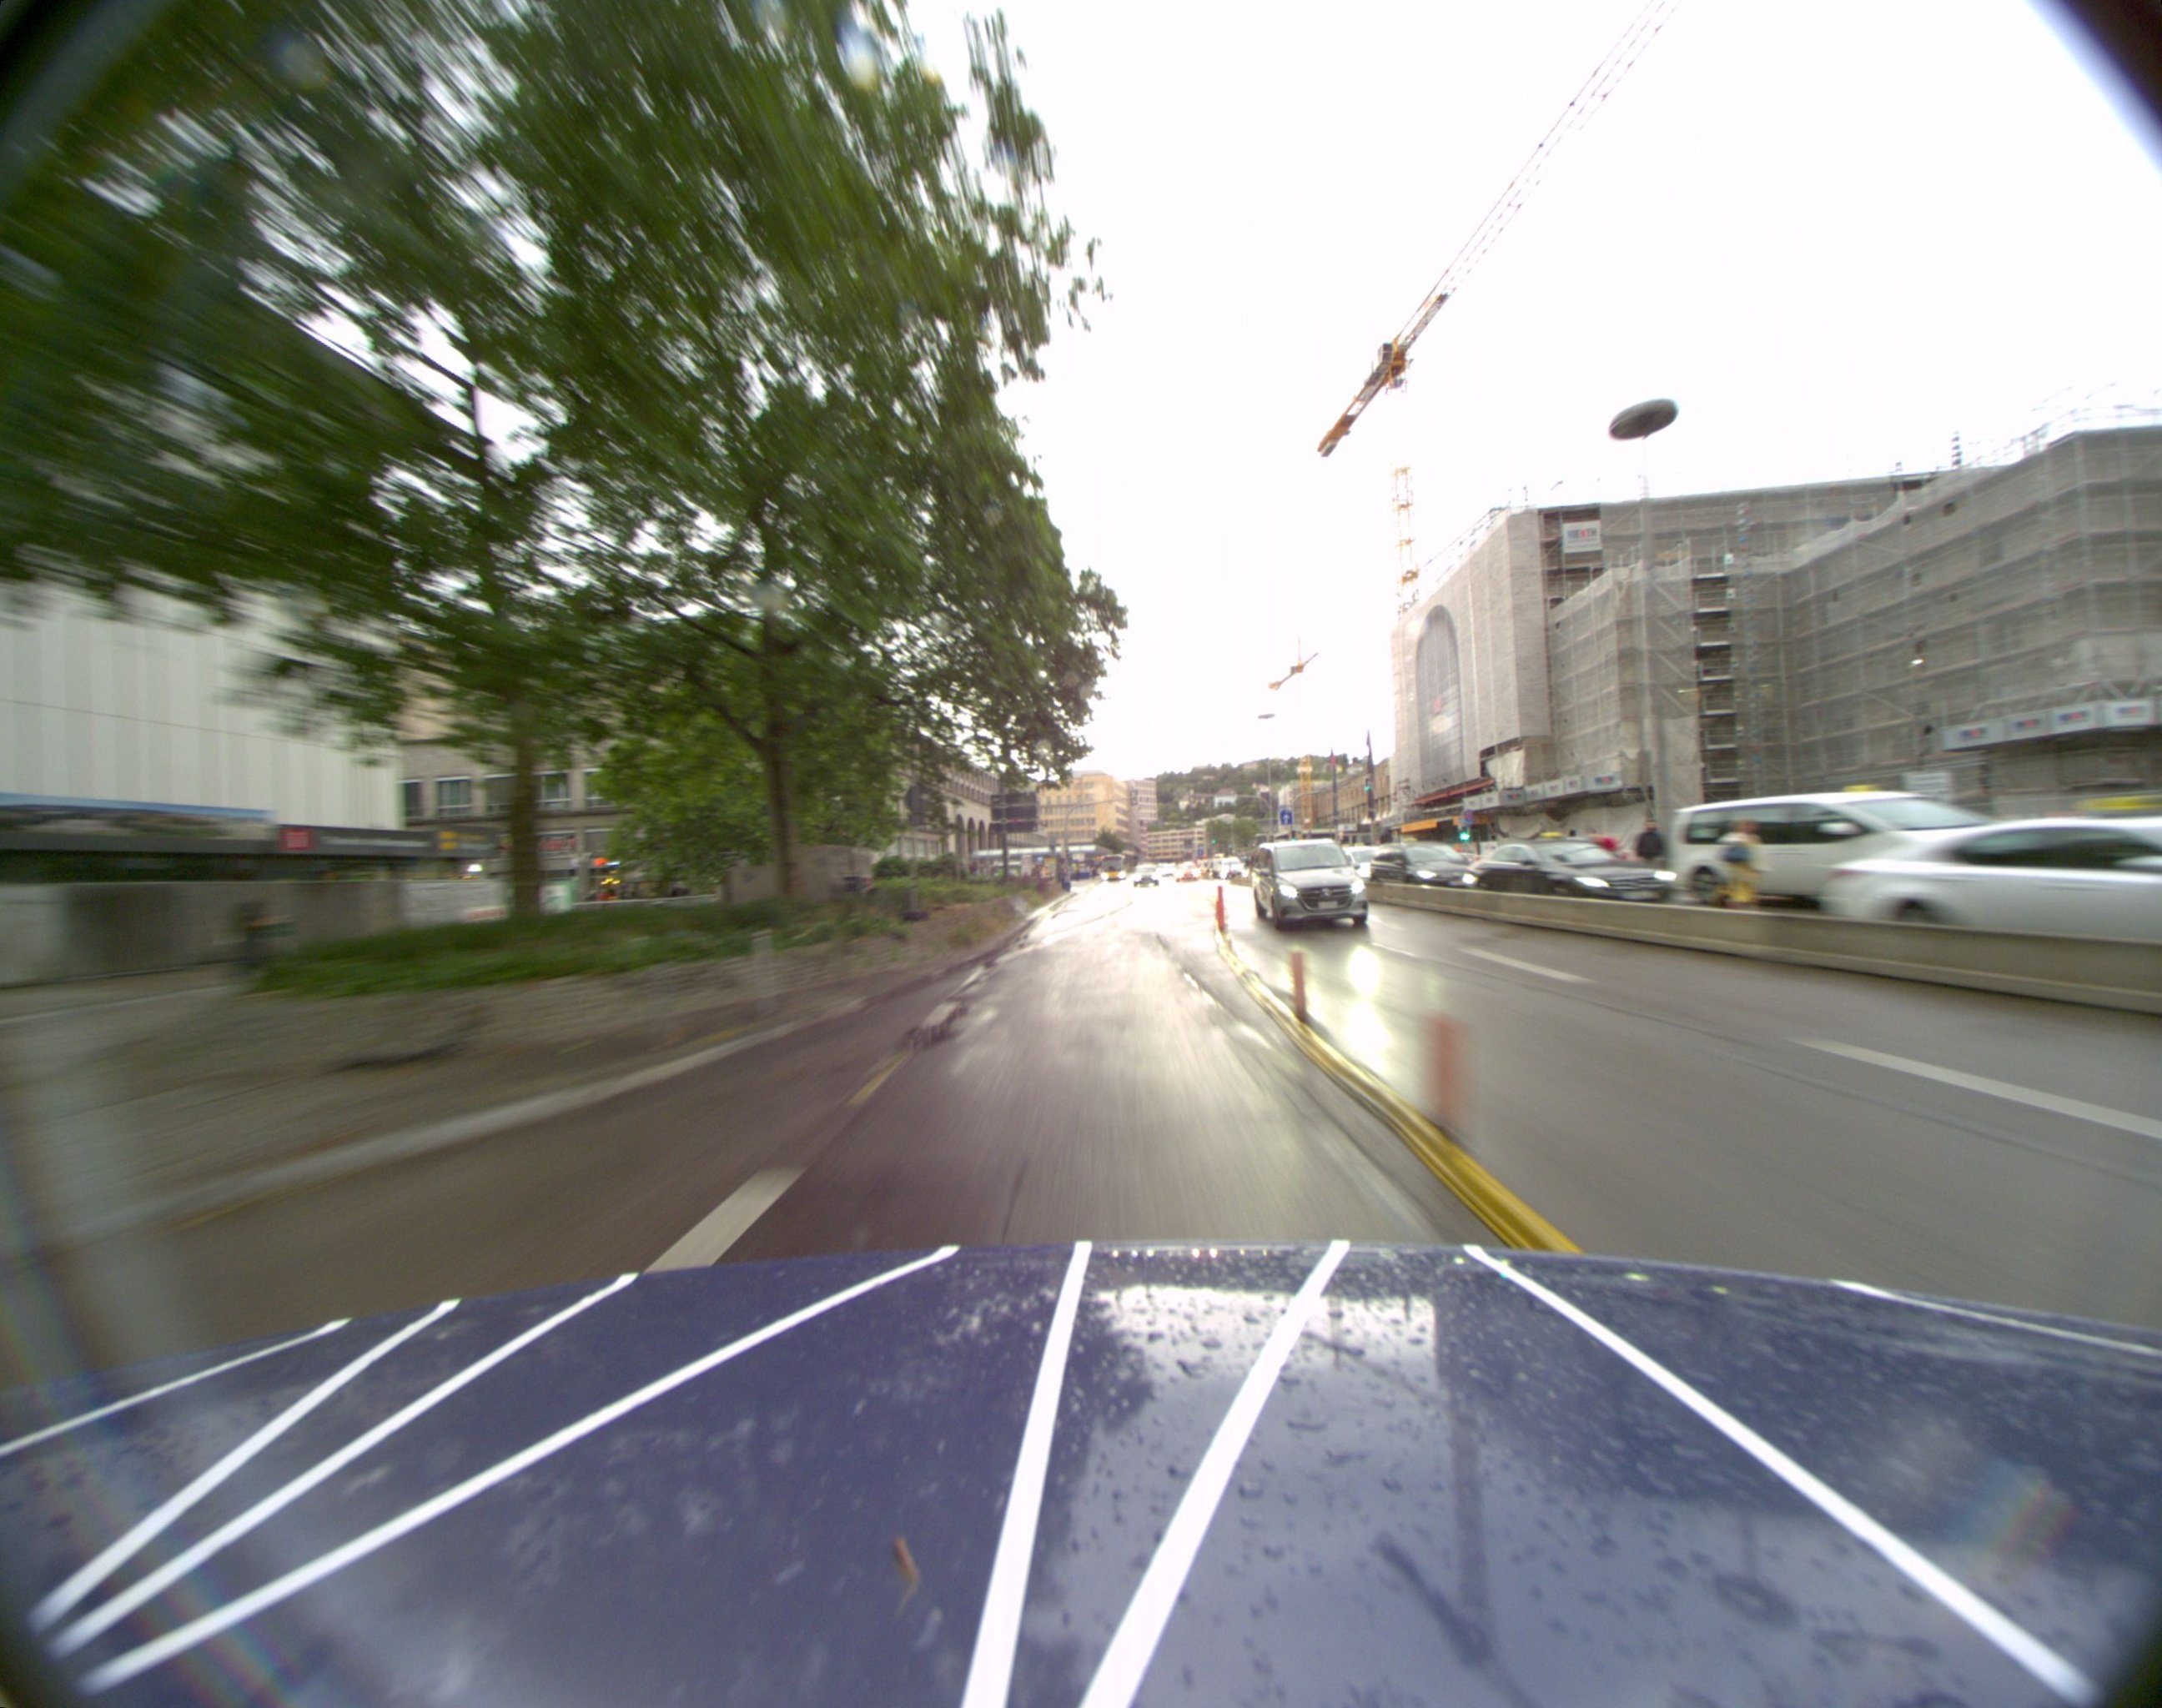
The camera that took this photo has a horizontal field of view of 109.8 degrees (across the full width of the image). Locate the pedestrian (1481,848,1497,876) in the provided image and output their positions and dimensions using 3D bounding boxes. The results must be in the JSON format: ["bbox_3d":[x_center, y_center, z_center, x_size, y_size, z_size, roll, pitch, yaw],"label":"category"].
[{"bbox_3d":[26.473,0.526,49.316,0.699,1.830,0.529,-3,-1,3],"label":"pedestrian"}]

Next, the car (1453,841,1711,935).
[{"bbox_3d":[9.911,0.618,15.680,1.977,1.502,5.006,-4,-1,1],"label":"car"}]

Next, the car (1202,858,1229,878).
[{"bbox_3d":[12.624,1.304,71.531,1.998,1.776,4.850,-3,-1,4],"label":"car"}]

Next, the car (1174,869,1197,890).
[{"bbox_3d":[8.445,2.023,61.676,1.708,1.484,3.672,-4,-1,6],"label":"car"}]

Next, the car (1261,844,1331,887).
[{"bbox_3d":[10.470,0.571,37.376,1.998,1.834,5.063,-4,-1,1],"label":"car"}]

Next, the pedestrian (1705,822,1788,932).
[{"bbox_3d":[11.232,0.383,12.869,0.834,1.773,1.030,-4,-1,33],"label":"pedestrian"}]

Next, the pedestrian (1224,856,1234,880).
[{"bbox_3d":[12.314,1.170,63.279,0.528,2.001,0.891,-3,-1,3],"label":"pedestrian"}]

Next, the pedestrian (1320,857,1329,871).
[{"bbox_3d":[31.337,1.275,97.808,0.702,1.830,0.879,-4,-1,34],"label":"pedestrian"}]

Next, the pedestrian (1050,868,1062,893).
[{"bbox_3d":[-1.792,1.919,54.837,0.541,1.794,0.756,-3,0,-23],"label":"pedestrian"}]

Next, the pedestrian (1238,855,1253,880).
[{"bbox_3d":[13.572,1.116,62.665,1.026,2.001,0.837,-3,-1,15],"label":"pedestrian"}]

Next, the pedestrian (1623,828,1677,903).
[{"bbox_3d":[13.823,0.278,18.484,0.636,1.743,0.823,-4,0,8],"label":"pedestrian"}]

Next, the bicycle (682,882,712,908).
[{"bbox_3d":[-26.122,2.786,51.747,0.617,1.624,1.998,-3,-1,13],"label":"bicycle"}]

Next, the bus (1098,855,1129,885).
[{"bbox_3d":[4.086,1.878,92.630,3.120,3.185,9.246,-4,-1,5],"label":"bus"}]

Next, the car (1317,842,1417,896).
[{"bbox_3d":[10.309,0.539,27.791,1.828,1.686,4.775,-4,-1,1],"label":"car"}]

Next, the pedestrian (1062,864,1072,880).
[{"bbox_3d":[-1.481,1.856,79.277,0.786,1.631,0.790,-3,0,20],"label":"pedestrian"}]

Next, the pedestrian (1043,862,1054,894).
[{"bbox_3d":[-2.194,1.592,51.504,0.556,2.133,0.668,-3,0,-9],"label":"pedestrian"}]

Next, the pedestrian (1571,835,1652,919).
[{"bbox_3d":[11.118,0.484,15.959,1.027,1.665,0.836,-3,-1,5],"label":"pedestrian"}]

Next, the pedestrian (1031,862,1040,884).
[{"bbox_3d":[-4.136,1.734,69.554,0.708,1.921,0.789,-3,0,-4],"label":"pedestrian"}]

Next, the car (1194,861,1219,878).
[{"bbox_3d":[13.591,1.627,82.577,2.054,1.701,5.057,-3,-1,4],"label":"car"}]

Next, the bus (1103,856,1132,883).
[{"bbox_3d":[4.943,1.961,101.751,3.148,3.228,9.140,-4,-1,6],"label":"bus"}]

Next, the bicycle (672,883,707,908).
[{"bbox_3d":[-25.390,2.680,49.308,0.794,1.552,2.133,-3,-1,13],"label":"bicycle"}]

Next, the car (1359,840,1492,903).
[{"bbox_3d":[9.793,0.478,22.037,1.828,1.502,4.491,-4,-1,1],"label":"car"}]

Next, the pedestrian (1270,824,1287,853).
[{"bbox_3d":[13.373,-1.041,51.518,0.832,1.875,0.691,-3,-1,-5],"label":"pedestrian"}]

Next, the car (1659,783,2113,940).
[{"bbox_3d":[13.040,0.134,13.068,1.998,2.001,5.370,-4,-1,0],"label":"car"}]

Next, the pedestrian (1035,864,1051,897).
[{"bbox_3d":[-2.524,1.762,50.712,0.709,2.133,0.722,-3,0,18],"label":"pedestrian"}]

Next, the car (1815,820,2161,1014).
[{"bbox_3d":[9.639,0.485,6.521,1.998,1.558,4.877,-2,-1,1],"label":"car"}]

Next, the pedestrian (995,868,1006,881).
[{"bbox_3d":[-10.459,2.691,98.499,0.787,1.580,0.994,-3,-1,42],"label":"pedestrian"}]

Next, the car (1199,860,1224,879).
[{"bbox_3d":[13.296,1.548,77.498,1.998,1.776,4.456,-3,-1,3],"label":"car"}]

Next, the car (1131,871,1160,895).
[{"bbox_3d":[4.894,2.145,56.782,1.822,1.455,4.703,-6,-1,7],"label":"car"}]

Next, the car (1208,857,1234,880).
[{"bbox_3d":[12.105,1.247,66.100,1.717,1.880,4.612,-3,-1,5],"label":"car"}]

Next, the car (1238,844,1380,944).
[{"bbox_3d":[5.151,0.856,18.009,1.998,1.892,5.253,-5,-1,4],"label":"car"}]

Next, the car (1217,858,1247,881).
[{"bbox_3d":[11.747,1.204,59.458,1.790,1.675,4.669,-3,-1,6],"label":"car"}]

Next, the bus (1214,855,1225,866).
[{"bbox_3d":[47.671,2.223,261.058,2.915,3.556,19.092,-2,-1,8],"label":"bus"}]

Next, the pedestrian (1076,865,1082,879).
[{"bbox_3d":[-0.265,2.066,88.604,0.594,1.609,0.511,-4,0,-5],"label":"pedestrian"}]

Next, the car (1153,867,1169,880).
[{"bbox_3d":[10.536,2.520,100.201,1.997,1.548,3.911,-3,-1,7],"label":"car"}]

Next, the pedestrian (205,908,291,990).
[{"bbox_3d":[-15.900,1.799,14.522,0.550,1.460,0.925,-2,-1,10],"label":"pedestrian"}]

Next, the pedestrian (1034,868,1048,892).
[{"bbox_3d":[-2.626,1.697,49.988,0.657,1.545,0.635,-4,0,18],"label":"pedestrian"}]

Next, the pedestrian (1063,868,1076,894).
[{"bbox_3d":[-0.781,1.889,53.129,0.748,1.794,0.709,-3,0,-10],"label":"pedestrian"}]

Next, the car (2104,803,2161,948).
[{"bbox_3d":[12.897,0.159,6.877,1.719,1.619,4.056,-4,-1,0],"label":"car"}]

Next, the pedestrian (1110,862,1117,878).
[{"bbox_3d":[3.844,1.896,89.256,0.572,1.830,0.704,-3,-1,-8],"label":"pedestrian"}]

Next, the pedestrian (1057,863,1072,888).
[{"bbox_3d":[-1.155,1.451,52.200,0.877,1.681,0.759,-3,-1,5],"label":"pedestrian"}]

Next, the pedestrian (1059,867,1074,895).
[{"bbox_3d":[-0.985,1.818,50.832,0.789,1.827,0.950,-3,0,-9],"label":"pedestrian"}]

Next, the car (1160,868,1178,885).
[{"bbox_3d":[10.118,2.538,87.532,1.871,1.747,3.904,-4,-1,6],"label":"car"}]
